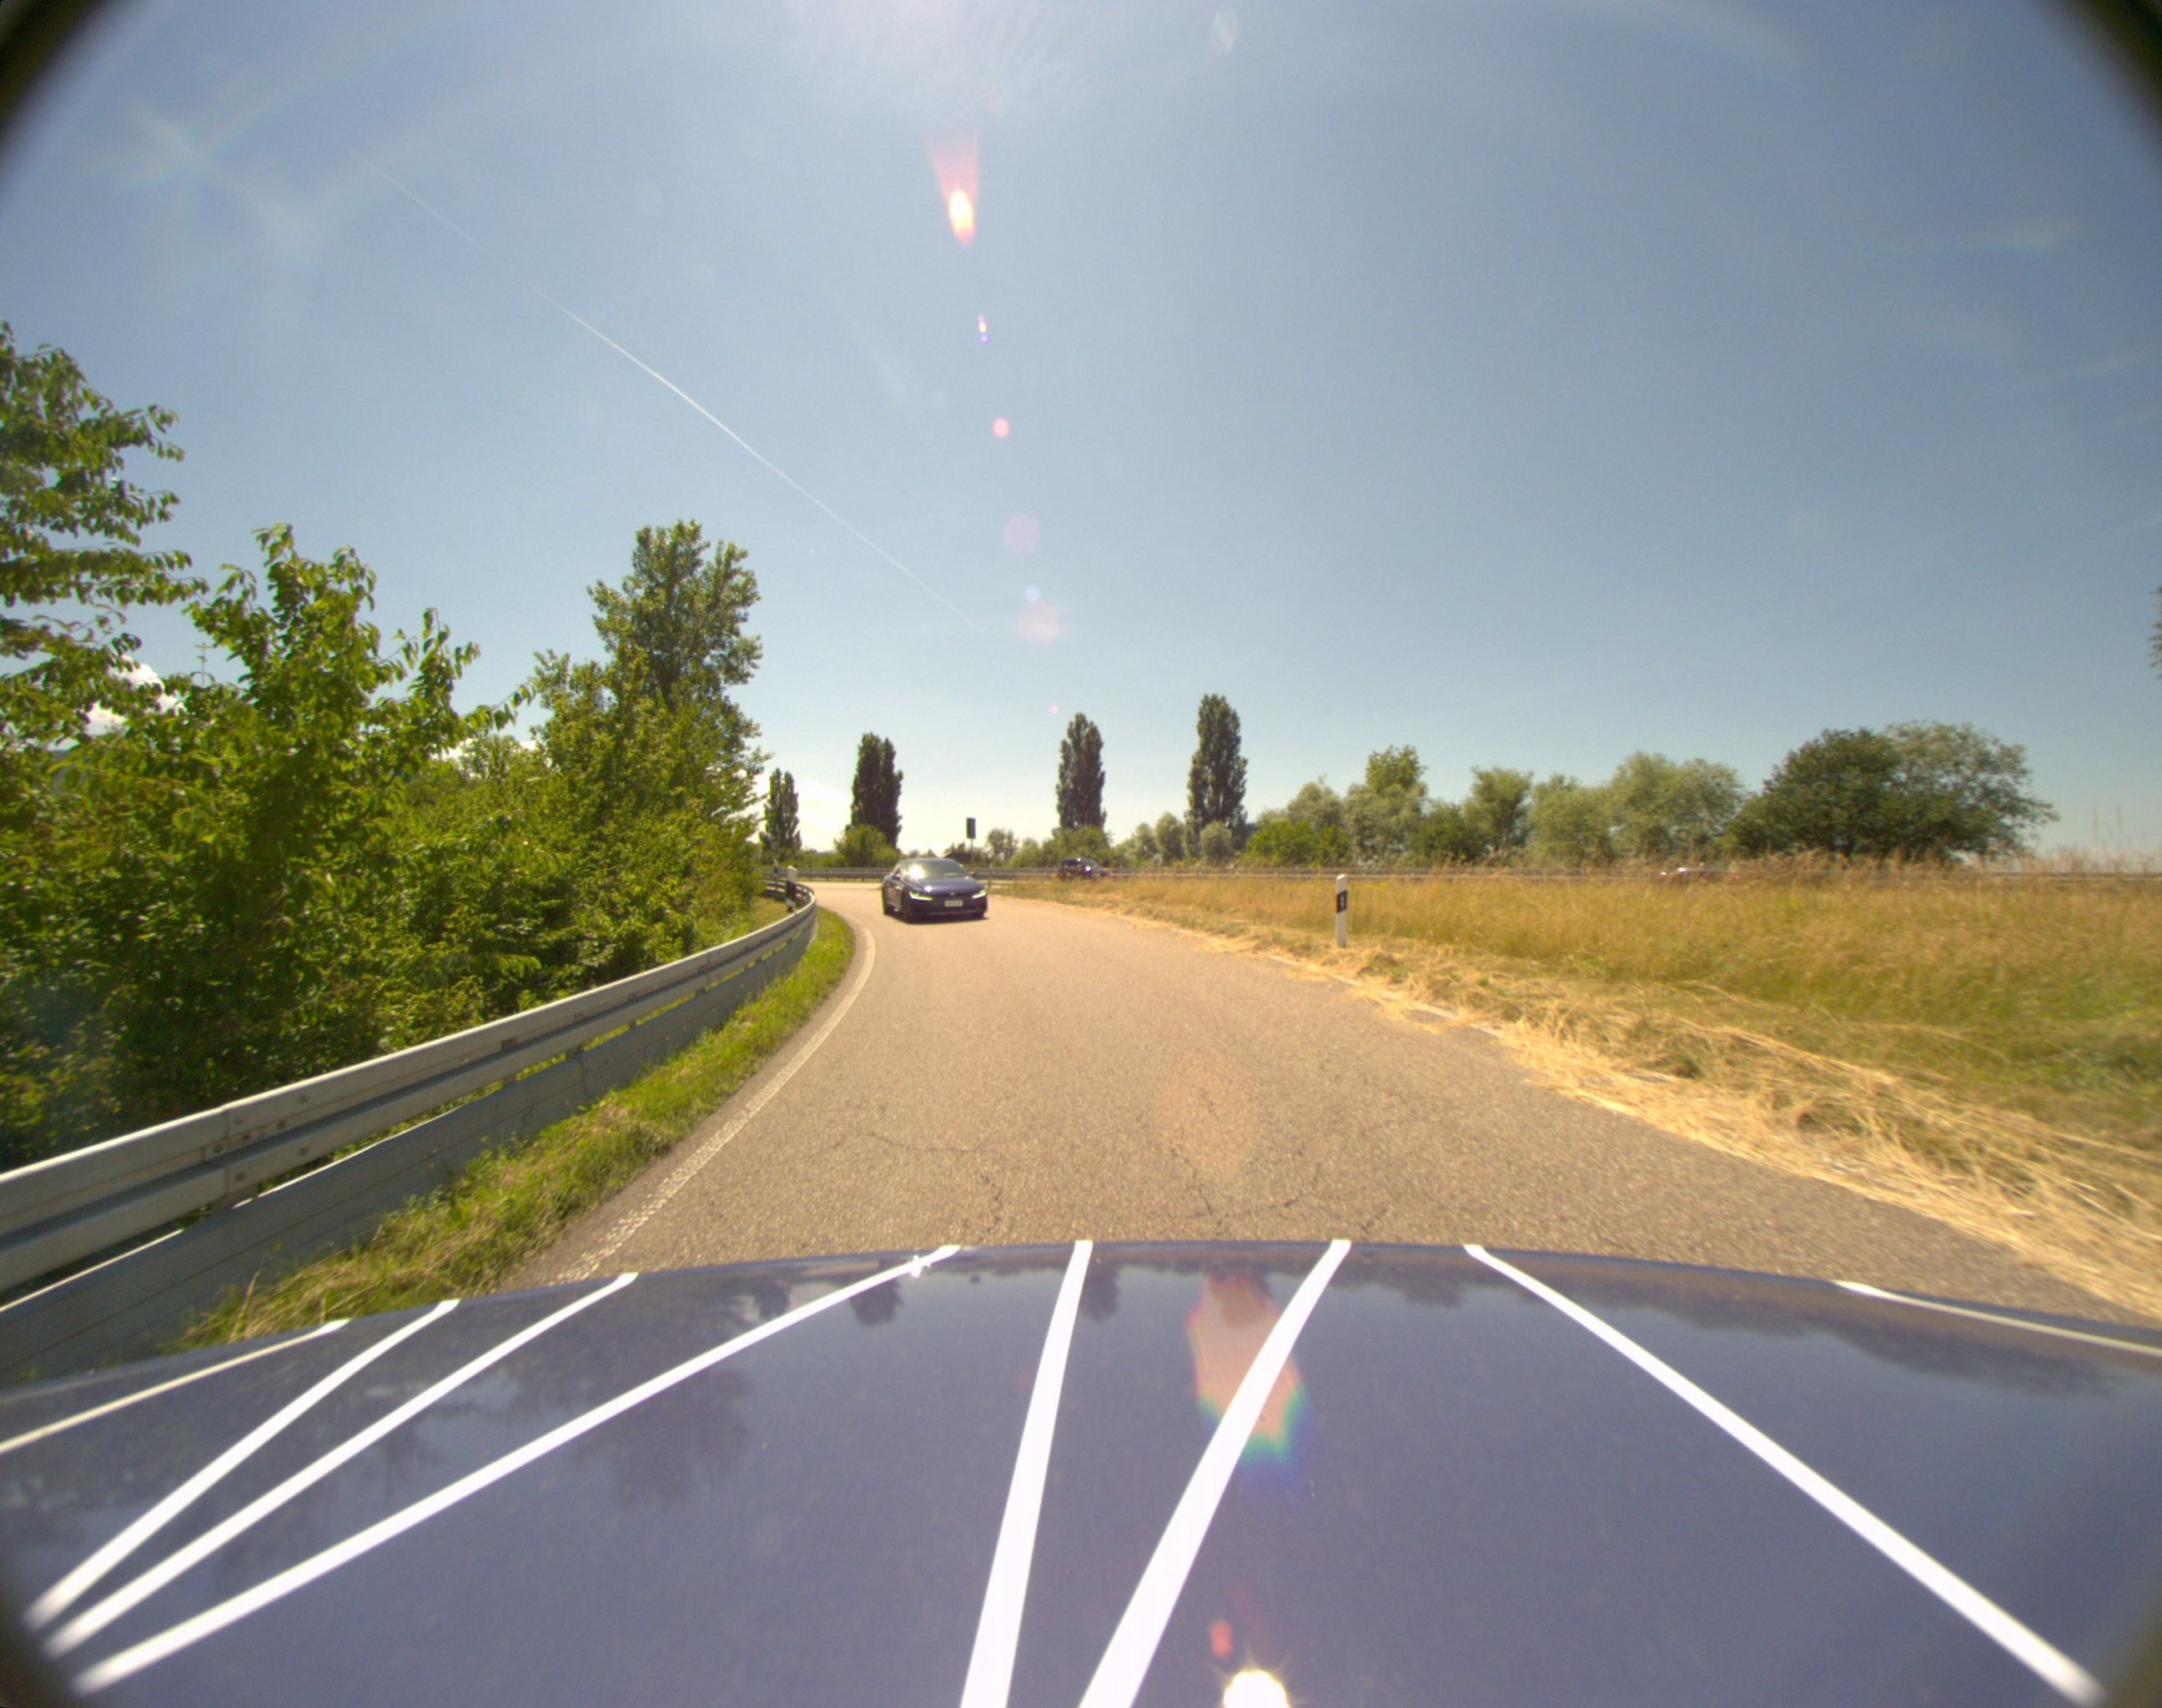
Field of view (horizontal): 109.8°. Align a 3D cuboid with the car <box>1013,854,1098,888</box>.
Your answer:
[{"bbox_3d":[-1.317,0.880,38.816,3.989,1.602,1.835,-1,0,36],"label":"car"}]

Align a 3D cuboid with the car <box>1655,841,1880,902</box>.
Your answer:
[{"bbox_3d":[19.462,0.470,21.896,4.631,1.564,2.004,-1,0,36],"label":"car"}]

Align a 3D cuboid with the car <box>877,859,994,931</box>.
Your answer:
[{"bbox_3d":[-3.717,0.890,18.711,1.846,1.422,4.525,-4,1,-22],"label":"car"}]
